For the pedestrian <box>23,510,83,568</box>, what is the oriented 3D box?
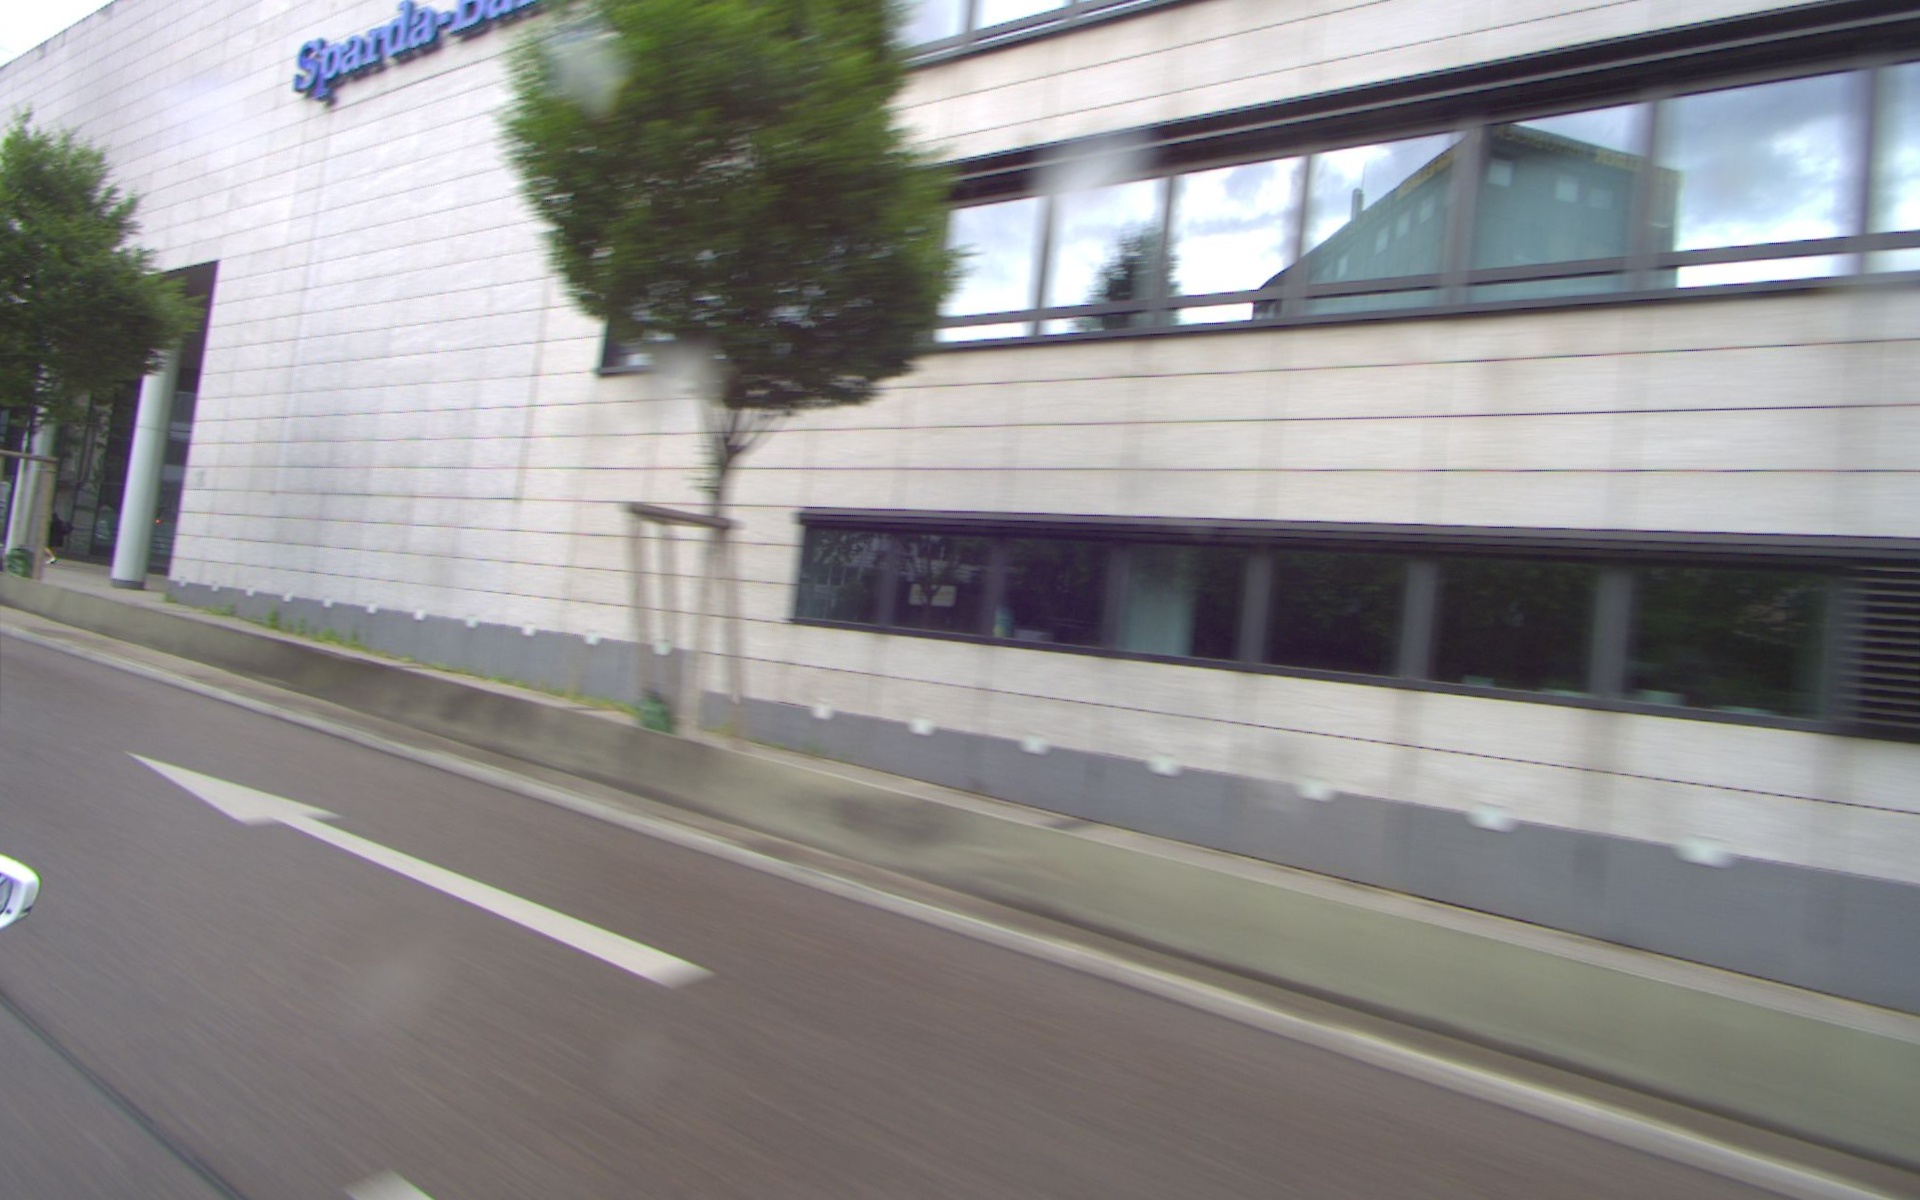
[{"bbox_3d":[-27.762,-1.861,30.802,0.827,1.604,0.973,7,-1,27],"label":"pedestrian"}]
